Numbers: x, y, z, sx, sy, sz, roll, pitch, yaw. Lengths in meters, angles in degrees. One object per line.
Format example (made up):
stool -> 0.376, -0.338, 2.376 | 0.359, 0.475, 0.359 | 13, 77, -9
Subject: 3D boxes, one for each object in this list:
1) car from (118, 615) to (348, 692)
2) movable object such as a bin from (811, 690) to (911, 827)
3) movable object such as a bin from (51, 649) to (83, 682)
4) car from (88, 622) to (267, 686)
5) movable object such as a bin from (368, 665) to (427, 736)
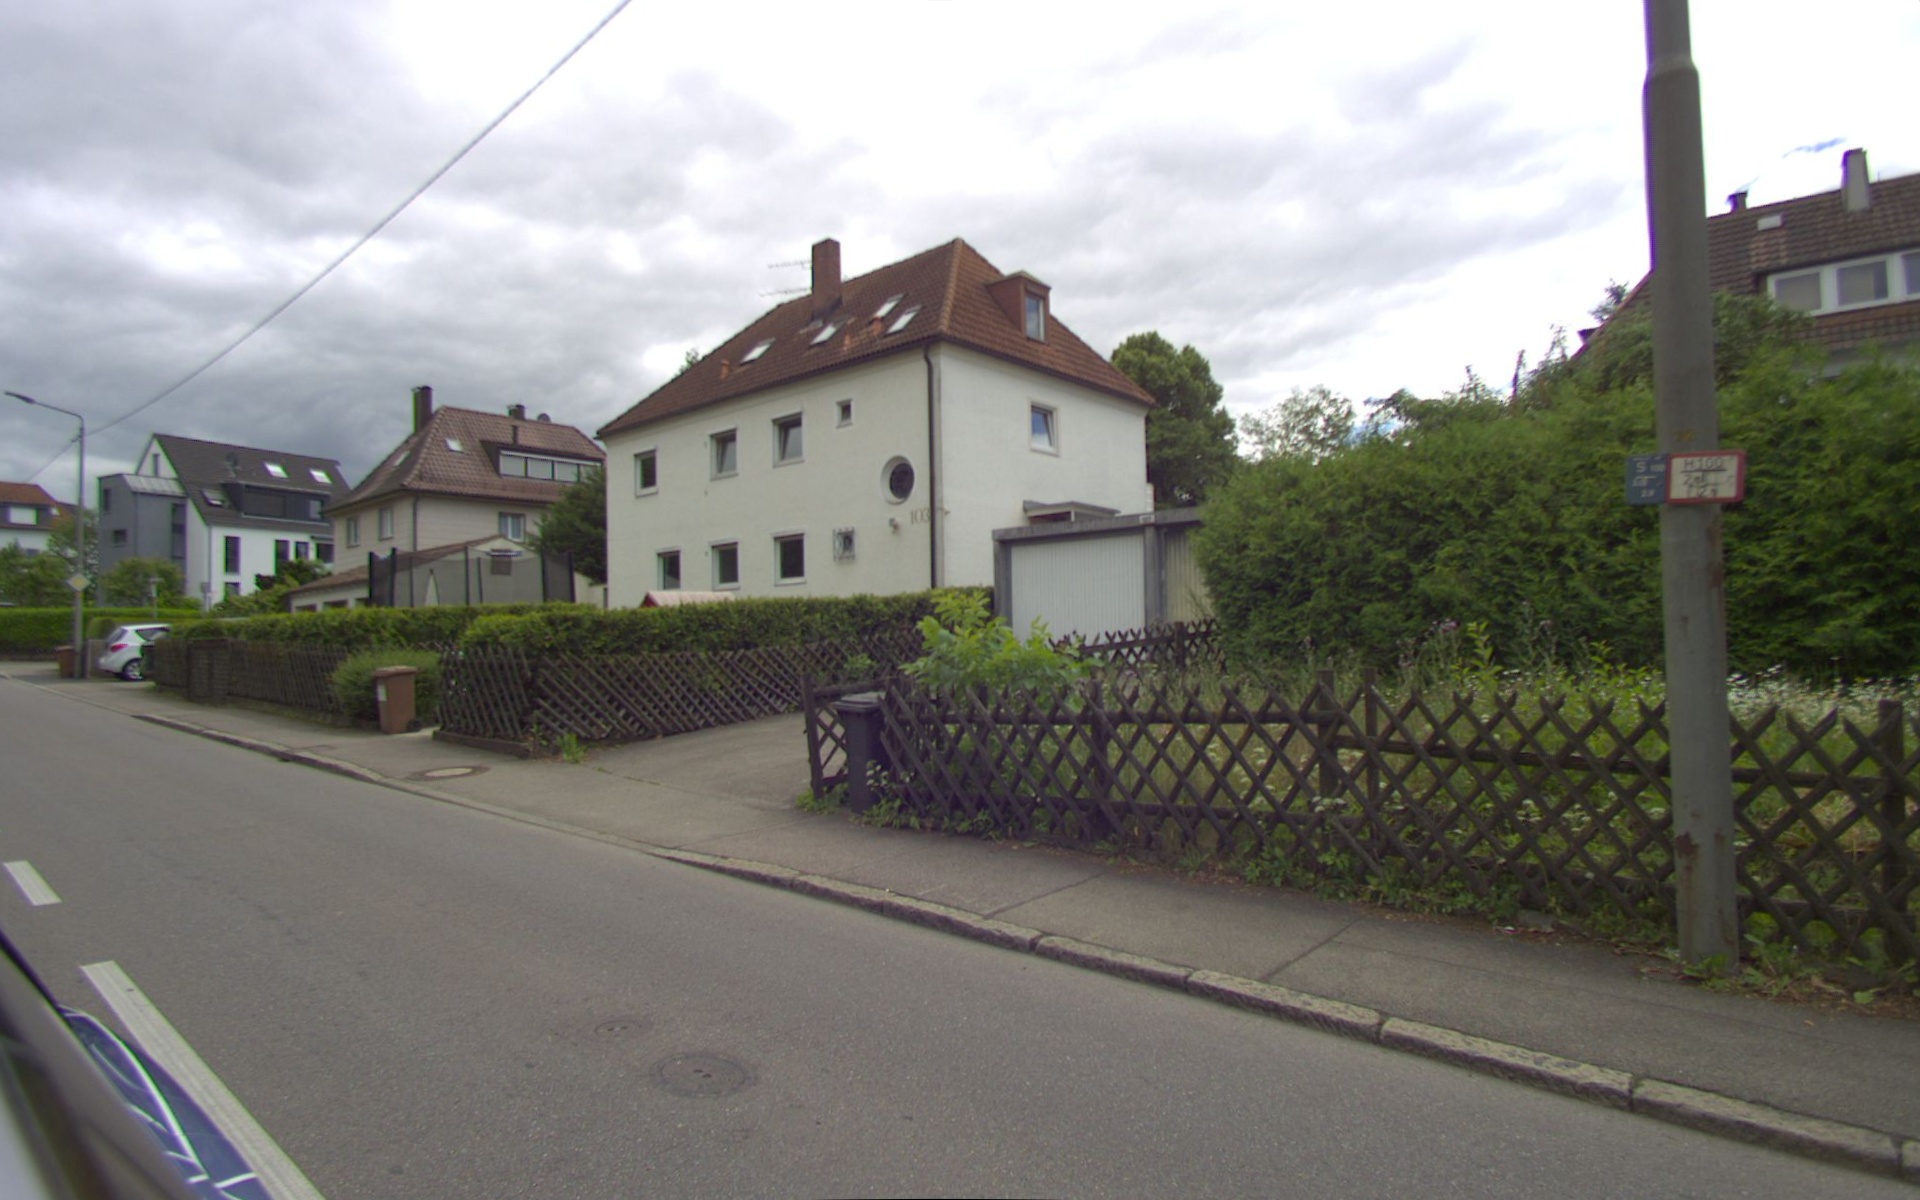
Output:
car -> -19.160, 1.334, 26.865 | 1.881, 1.682, 4.624 | -2, 0, 39
movable object such as a bin -> -0.761, 1.193, 7.790 | 0.537, 0.945, 0.544 | -2, -2, 43
movable object such as a bin -> -26.882, 1.965, 30.473 | 0.679, 0.961, 0.573 | 1, -2, -41
car -> -23.189, 1.553, 30.096 | 1.718, 1.606, 3.946 | -2, 0, 41
movable object such as a bin -> -7.828, 1.384, 14.079 | 0.625, 0.920, 0.561 | -1, -1, -39
